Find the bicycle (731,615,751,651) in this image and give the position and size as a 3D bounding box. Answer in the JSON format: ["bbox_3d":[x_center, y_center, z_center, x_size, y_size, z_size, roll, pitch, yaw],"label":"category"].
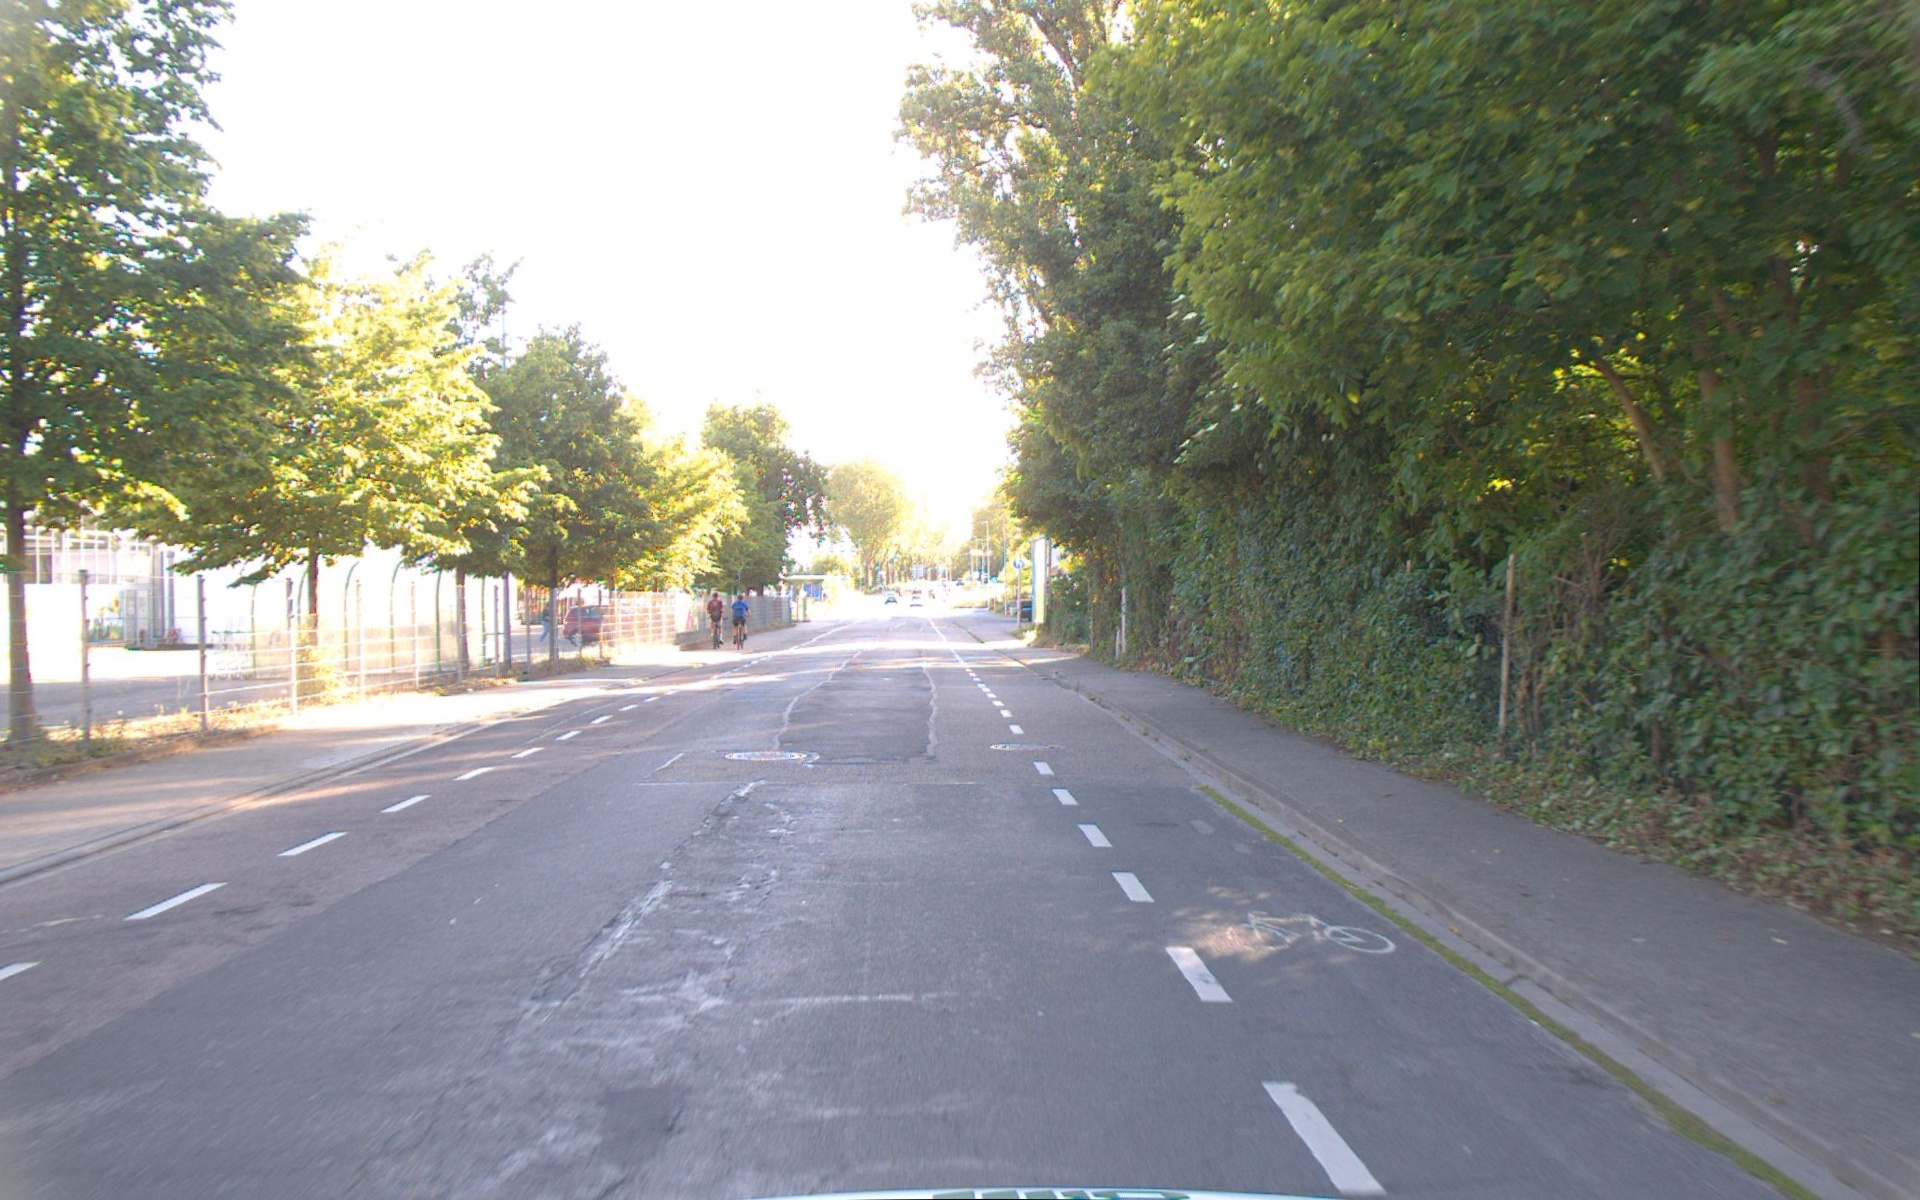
[{"bbox_3d":[-7.422,1.117,56.184,0.437,1.168,2.200,1,0,-2],"label":"bicycle"}]

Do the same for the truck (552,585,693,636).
[{"bbox_3d":[-25.034,0.796,123.148,9.896,3.678,2.774,0,-1,-3],"label":"truck"}]

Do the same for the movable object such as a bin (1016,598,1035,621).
[{"bbox_3d":[4.074,0.576,103.097,1.106,1.396,1.345,0,0,-3],"label":"movable object such as a bin"}]

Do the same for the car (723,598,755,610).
[{"bbox_3d":[-30.829,0.574,231.078,4.235,1.646,1.877,0,0,-3],"label":"car"}]

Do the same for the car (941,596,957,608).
[{"bbox_3d":[-1.688,0.254,249.059,2.122,1.713,3.995,0,0,-6],"label":"car"}]

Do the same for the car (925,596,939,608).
[{"bbox_3d":[-4.141,0.285,243.598,2.120,1.713,3.999,0,0,-1],"label":"car"}]

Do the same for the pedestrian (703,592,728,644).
[{"bbox_3d":[-8.317,0.611,56.345,0.706,1.751,1.057,0,-1,-2],"label":"pedestrian"}]

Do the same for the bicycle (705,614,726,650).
[{"bbox_3d":[-8.313,1.081,56.280,0.460,1.168,1.868,1,0,-2],"label":"bicycle"}]

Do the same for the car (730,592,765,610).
[{"bbox_3d":[-30.649,0.131,238.664,4.827,2.503,2.318,0,0,-3],"label":"car"}]

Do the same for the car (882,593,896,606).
[{"bbox_3d":[-9.217,-0.014,215.070,1.706,1.552,4.109,-4,0,-2],"label":"car"}]

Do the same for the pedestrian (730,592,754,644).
[{"bbox_3d":[-7.406,0.604,56.241,0.706,1.751,1.057,0,-1,-2],"label":"pedestrian"}]

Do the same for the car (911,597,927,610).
[{"bbox_3d":[-4.763,0.412,191.488,1.753,1.445,4.000,0,0,0],"label":"car"}]
